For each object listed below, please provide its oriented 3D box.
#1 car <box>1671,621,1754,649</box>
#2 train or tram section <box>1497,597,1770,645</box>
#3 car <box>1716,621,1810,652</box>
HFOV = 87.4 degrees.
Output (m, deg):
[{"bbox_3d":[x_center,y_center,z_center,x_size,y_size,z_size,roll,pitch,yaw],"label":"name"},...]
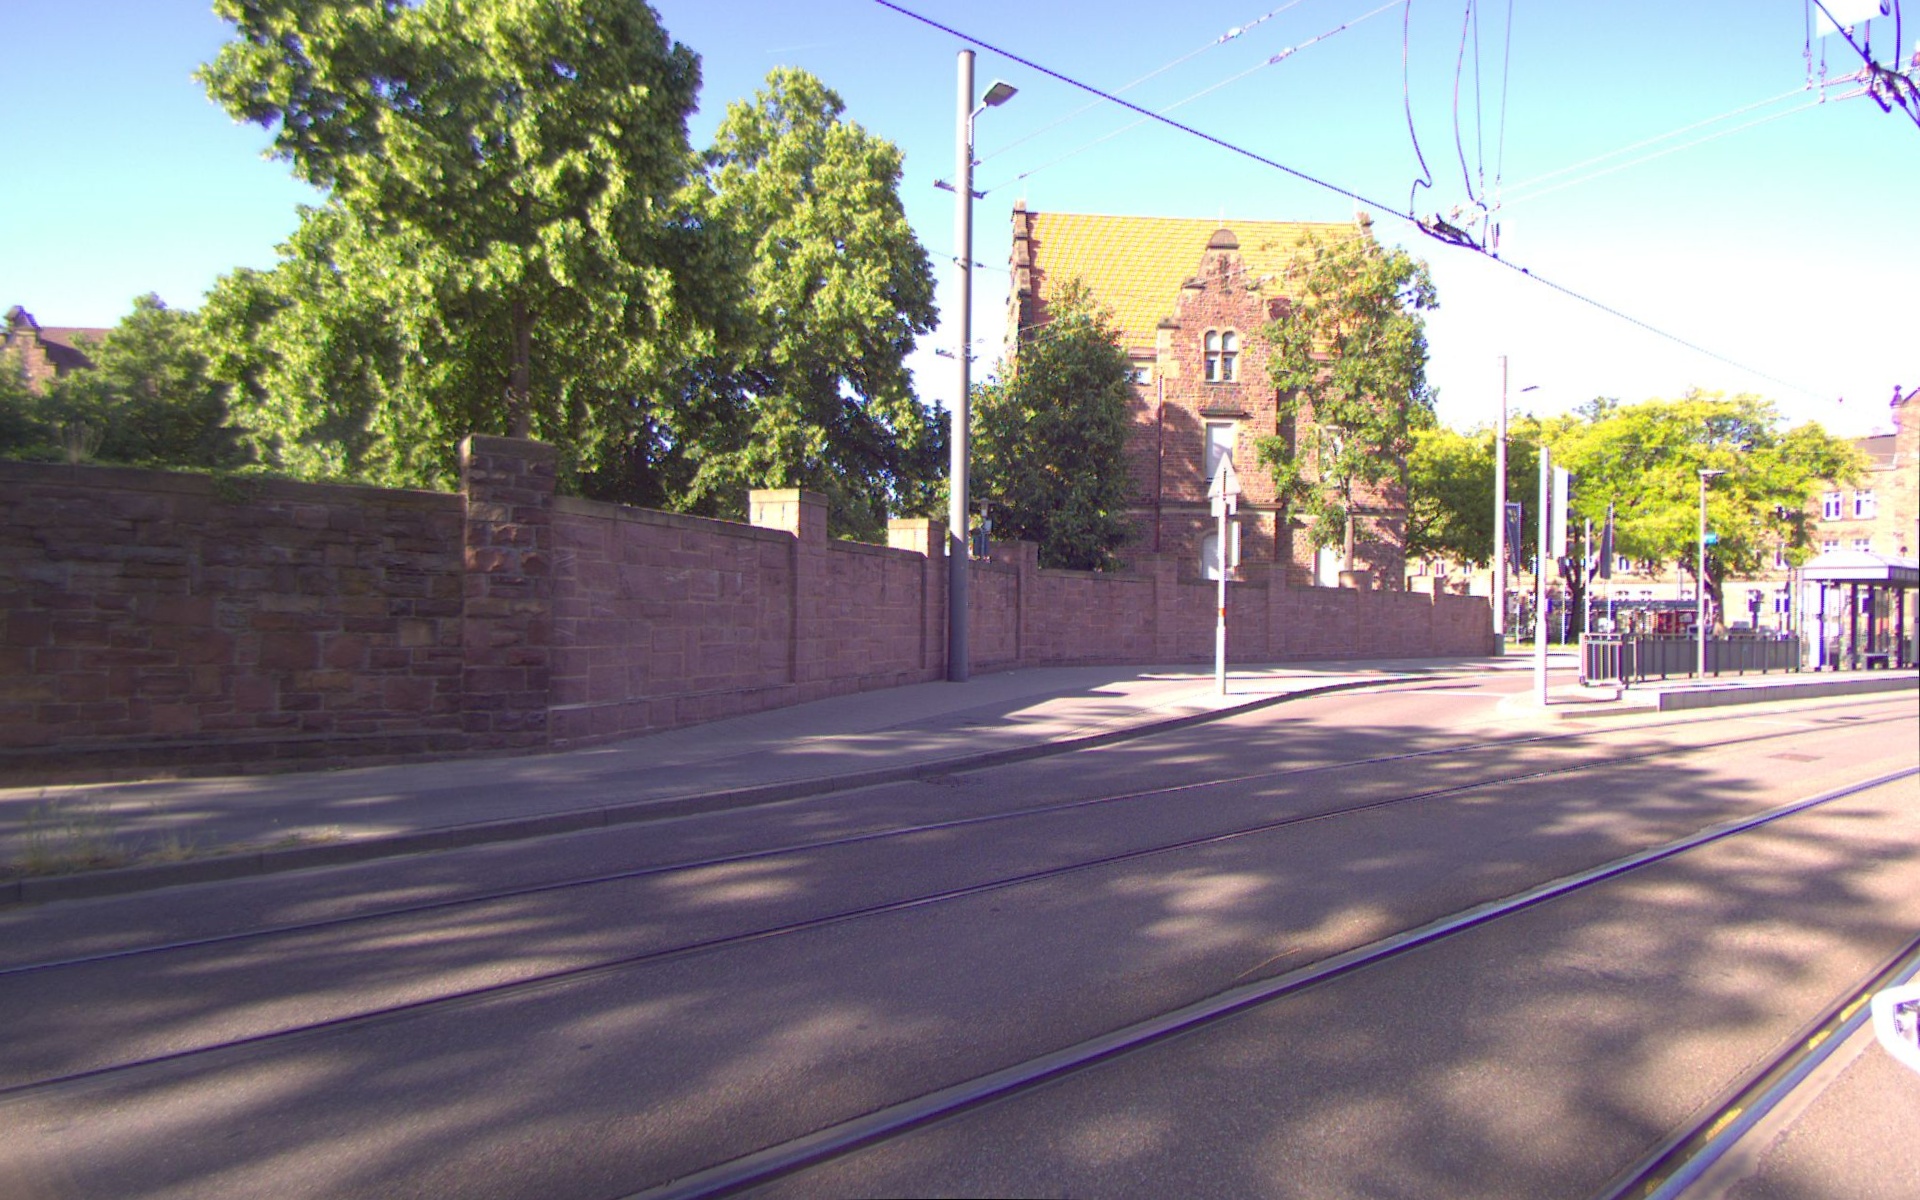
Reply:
[{"bbox_3d":[49.183,2.252,65.681,1.798,1.651,3.964,2,0,-32],"label":"car"},{"bbox_3d":[50.033,1.469,75.886,3.312,3.196,17.280,2,-1,-33],"label":"train or tram section"},{"bbox_3d":[47.758,2.169,59.797,1.798,1.651,3.964,2,0,-32],"label":"car"}]
